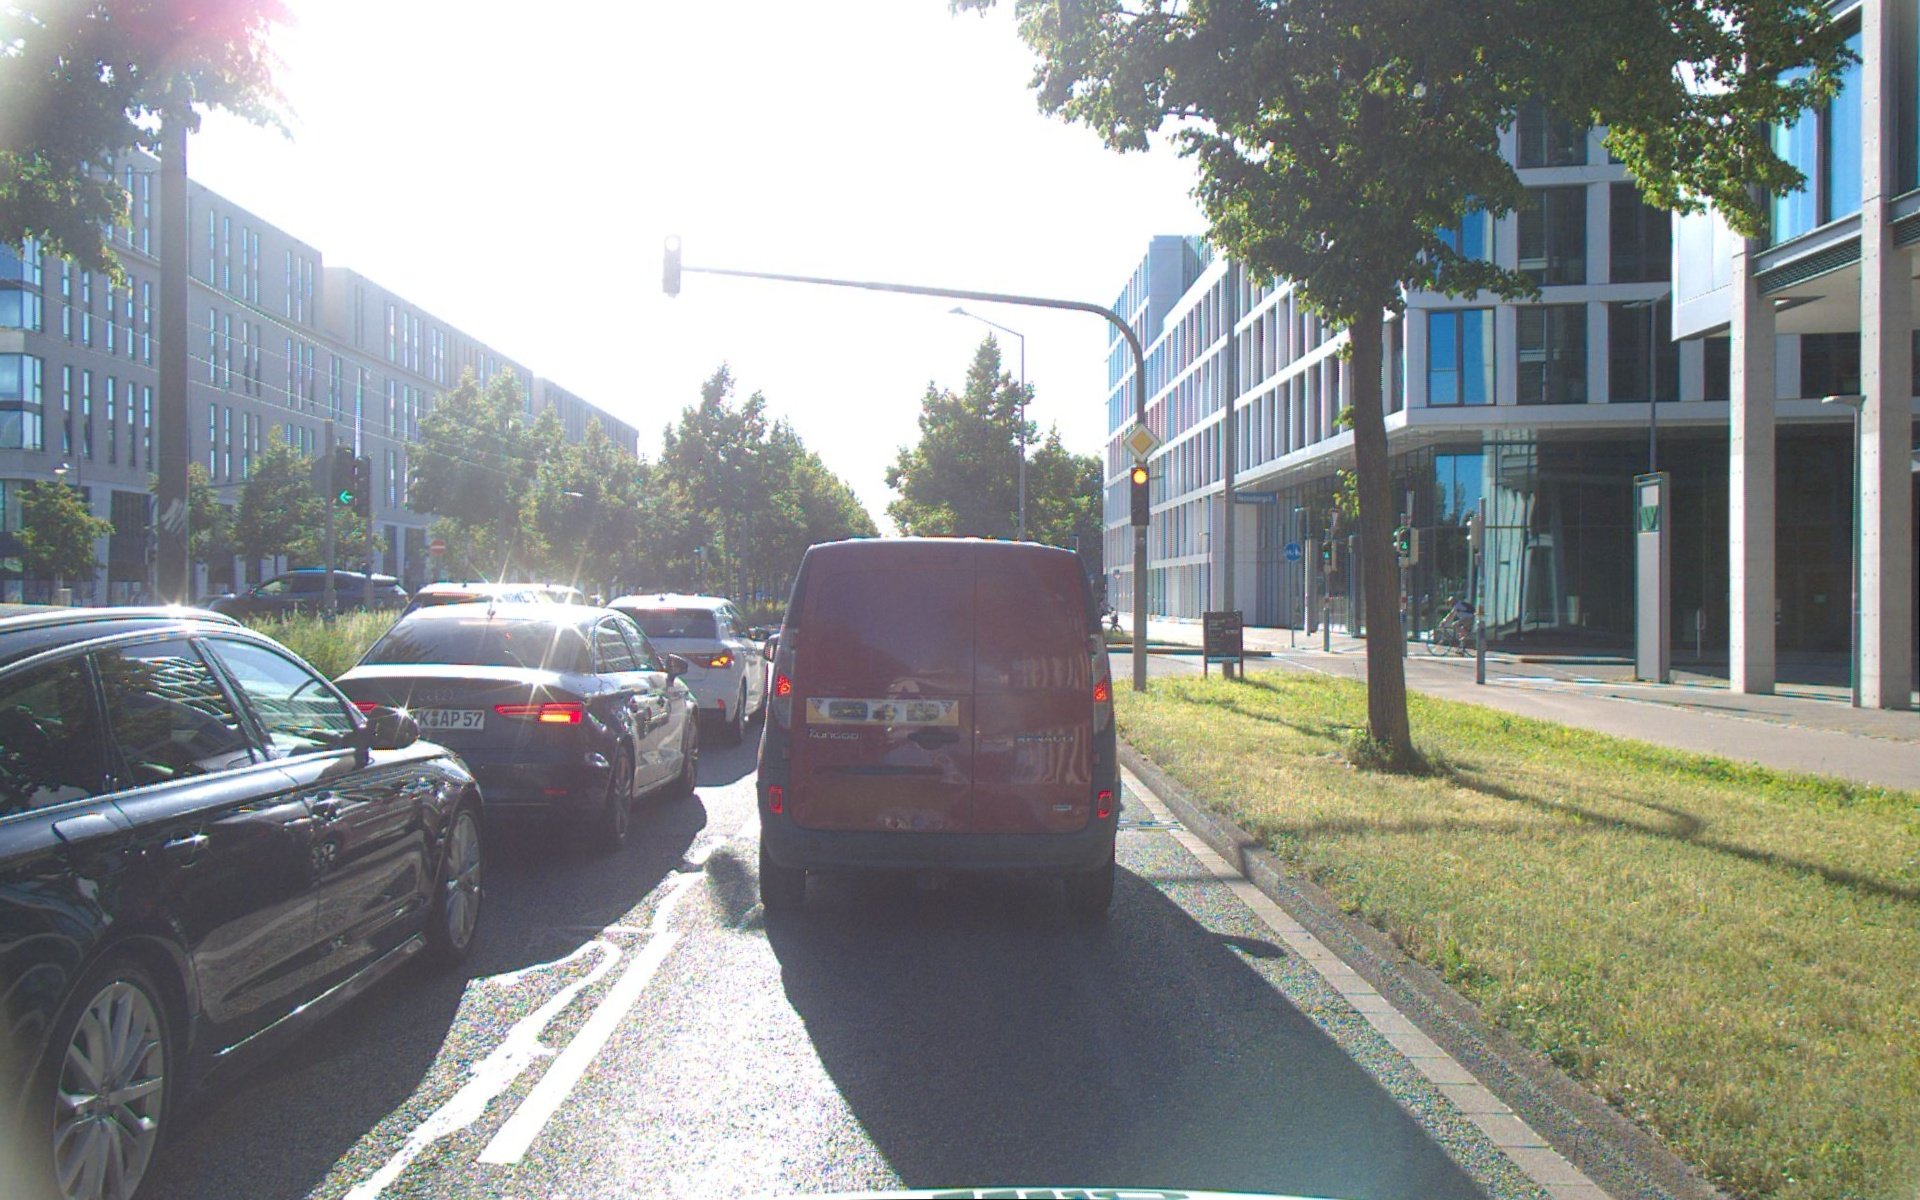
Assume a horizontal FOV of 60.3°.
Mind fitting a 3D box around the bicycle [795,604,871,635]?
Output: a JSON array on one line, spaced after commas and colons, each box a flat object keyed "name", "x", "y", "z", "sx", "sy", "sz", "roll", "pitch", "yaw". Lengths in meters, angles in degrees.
[{"name": "bicycle", "x": -4.924, "y": 0.759, "z": 64.185, "sx": 2.881, "sy": 1.211, "sz": 0.818, "roll": 0, "pitch": 0, "yaw": 0}]

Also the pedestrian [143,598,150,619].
[{"name": "pedestrian", "x": -42.953, "y": 0.467, "z": 87.308, "sx": 0.248, "sy": 1.104, "sz": 0.289, "roll": 0, "pitch": 0, "yaw": -1}]

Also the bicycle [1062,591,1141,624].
[{"name": "bicycle", "x": 5.382, "y": 0.273, "z": 62.833, "sx": 2.879, "sy": 1.211, "sz": 0.818, "roll": 0, "pitch": 0, "yaw": 13}]

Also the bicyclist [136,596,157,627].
[{"name": "bicyclist", "x": -40.455, "y": 0.564, "z": 82.241, "sx": 0.663, "sy": 1.556, "sz": 0.714, "roll": 0, "pitch": 0, "yaw": -1}]

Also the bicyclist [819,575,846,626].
[{"name": "bicyclist", "x": -4.938, "y": 0.014, "z": 64.201, "sx": 0.978, "sy": 1.981, "sz": 0.818, "roll": 0, "pitch": 0, "yaw": 1}]

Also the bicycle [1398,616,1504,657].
[{"name": "bicycle", "x": 13.802, "y": 1.015, "z": 46.538, "sx": 2.776, "sy": 1.134, "sz": 0.821, "roll": 0, "pitch": 0, "yaw": 9}]

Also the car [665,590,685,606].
[{"name": "car", "x": -37.354, "y": -0.223, "z": 216.678, "sx": 1.953, "sy": 2.049, "sz": 3.999, "roll": 0, "pitch": 0, "yaw": -1}]

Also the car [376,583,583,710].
[{"name": "car", "x": -6.223, "y": 0.548, "z": 21.871, "sx": 1.483, "sy": 1.518, "sz": 4.216, "roll": 0, "pitch": 0, "yaw": 0}]

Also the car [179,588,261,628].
[{"name": "car", "x": -34.747, "y": 0.364, "z": 77.774, "sx": 1.953, "sy": 1.845, "sz": 4.369, "roll": 0, "pitch": 0, "yaw": -1}]

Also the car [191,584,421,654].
[{"name": "car", "x": -14.279, "y": 0.385, "z": 36.162, "sx": 4.456, "sy": 1.473, "sz": 1.806, "roll": 0, "pitch": 0, "yaw": 14}]

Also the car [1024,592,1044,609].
[{"name": "car", "x": 8.066, "y": 0.058, "z": 179.938, "sx": 1.953, "sy": 1.813, "sz": 3.999, "roll": 0, "pitch": 0, "yaw": -1}]

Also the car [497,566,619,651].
[{"name": "car", "x": -7.617, "y": 0.131, "z": 31.035, "sx": 1.772, "sy": 1.473, "sz": 4.542, "roll": 0, "pitch": 0, "yaw": -20}]

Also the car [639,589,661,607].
[{"name": "car", "x": -37.215, "y": -0.262, "z": 198.663, "sx": 1.953, "sy": 2.049, "sz": 3.999, "roll": 0, "pitch": 0, "yaw": -1}]

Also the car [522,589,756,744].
[{"name": "car", "x": -3.265, "y": 0.620, "z": 17.521, "sx": 1.767, "sy": 1.451, "sz": 3.900, "roll": 0, "pitch": 0, "yaw": -1}]

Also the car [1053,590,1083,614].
[{"name": "car", "x": 8.327, "y": 0.141, "z": 128.003, "sx": 1.953, "sy": 1.813, "sz": 3.999, "roll": 0, "pitch": 0, "yaw": -1}]

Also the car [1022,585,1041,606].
[{"name": "car", "x": 8.581, "y": -0.525, "z": 198.464, "sx": 1.953, "sy": 2.540, "sz": 4.986, "roll": 0, "pitch": 0, "yaw": -1}]

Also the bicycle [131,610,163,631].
[{"name": "bicycle", "x": -40.452, "y": 1.029, "z": 82.294, "sx": 0.663, "sy": 1.005, "sz": 1.956, "roll": 0, "pitch": 0, "yaw": -1}]

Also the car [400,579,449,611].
[{"name": "car", "x": -35.285, "y": -0.322, "z": 109.112, "sx": 1.953, "sy": 2.049, "sz": 3.999, "roll": 0, "pitch": 0, "yaw": -1}]

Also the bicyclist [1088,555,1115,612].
[{"name": "bicyclist", "x": 5.370, "y": -0.617, "z": 62.849, "sx": 0.920, "sy": 2.129, "sz": 0.818, "roll": 0, "pitch": 0, "yaw": 13}]

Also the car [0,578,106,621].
[{"name": "car", "x": -33.200, "y": -0.039, "z": 60.655, "sx": 1.729, "sy": 1.546, "sz": 3.999, "roll": 0, "pitch": 0, "yaw": -1}]

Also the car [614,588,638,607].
[{"name": "car", "x": -36.719, "y": -0.283, "z": 181.856, "sx": 1.953, "sy": 2.049, "sz": 3.999, "roll": 0, "pitch": 0, "yaw": -1}]

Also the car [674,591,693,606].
[{"name": "car", "x": -37.166, "y": -0.200, "z": 222.304, "sx": 1.953, "sy": 2.049, "sz": 3.999, "roll": 0, "pitch": 0, "yaw": -1}]

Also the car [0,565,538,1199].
[{"name": "car", "x": -2.782, "y": 0.679, "z": 5.107, "sx": 1.836, "sy": 1.510, "sz": 4.965, "roll": 0, "pitch": 0, "yaw": -2}]

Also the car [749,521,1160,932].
[{"name": "car", "x": -0.053, "y": 0.552, "z": 9.313, "sx": 1.804, "sy": 1.812, "sz": 3.999, "roll": 0, "pitch": 0, "yaw": -1}]

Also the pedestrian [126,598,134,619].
[{"name": "pedestrian", "x": -43.750, "y": 0.468, "z": 87.188, "sx": 0.248, "sy": 1.104, "sz": 0.260, "roll": 0, "pitch": 0, "yaw": -1}]

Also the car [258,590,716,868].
[{"name": "car", "x": -2.792, "y": 0.665, "z": 10.822, "sx": 1.804, "sy": 1.451, "sz": 4.338, "roll": 0, "pitch": 0, "yaw": -1}]

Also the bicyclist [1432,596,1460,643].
[{"name": "bicyclist", "x": 13.683, "y": 0.534, "z": 46.564, "sx": 0.666, "sy": 1.297, "sz": 0.821, "roll": 0, "pitch": 0, "yaw": 8}]
